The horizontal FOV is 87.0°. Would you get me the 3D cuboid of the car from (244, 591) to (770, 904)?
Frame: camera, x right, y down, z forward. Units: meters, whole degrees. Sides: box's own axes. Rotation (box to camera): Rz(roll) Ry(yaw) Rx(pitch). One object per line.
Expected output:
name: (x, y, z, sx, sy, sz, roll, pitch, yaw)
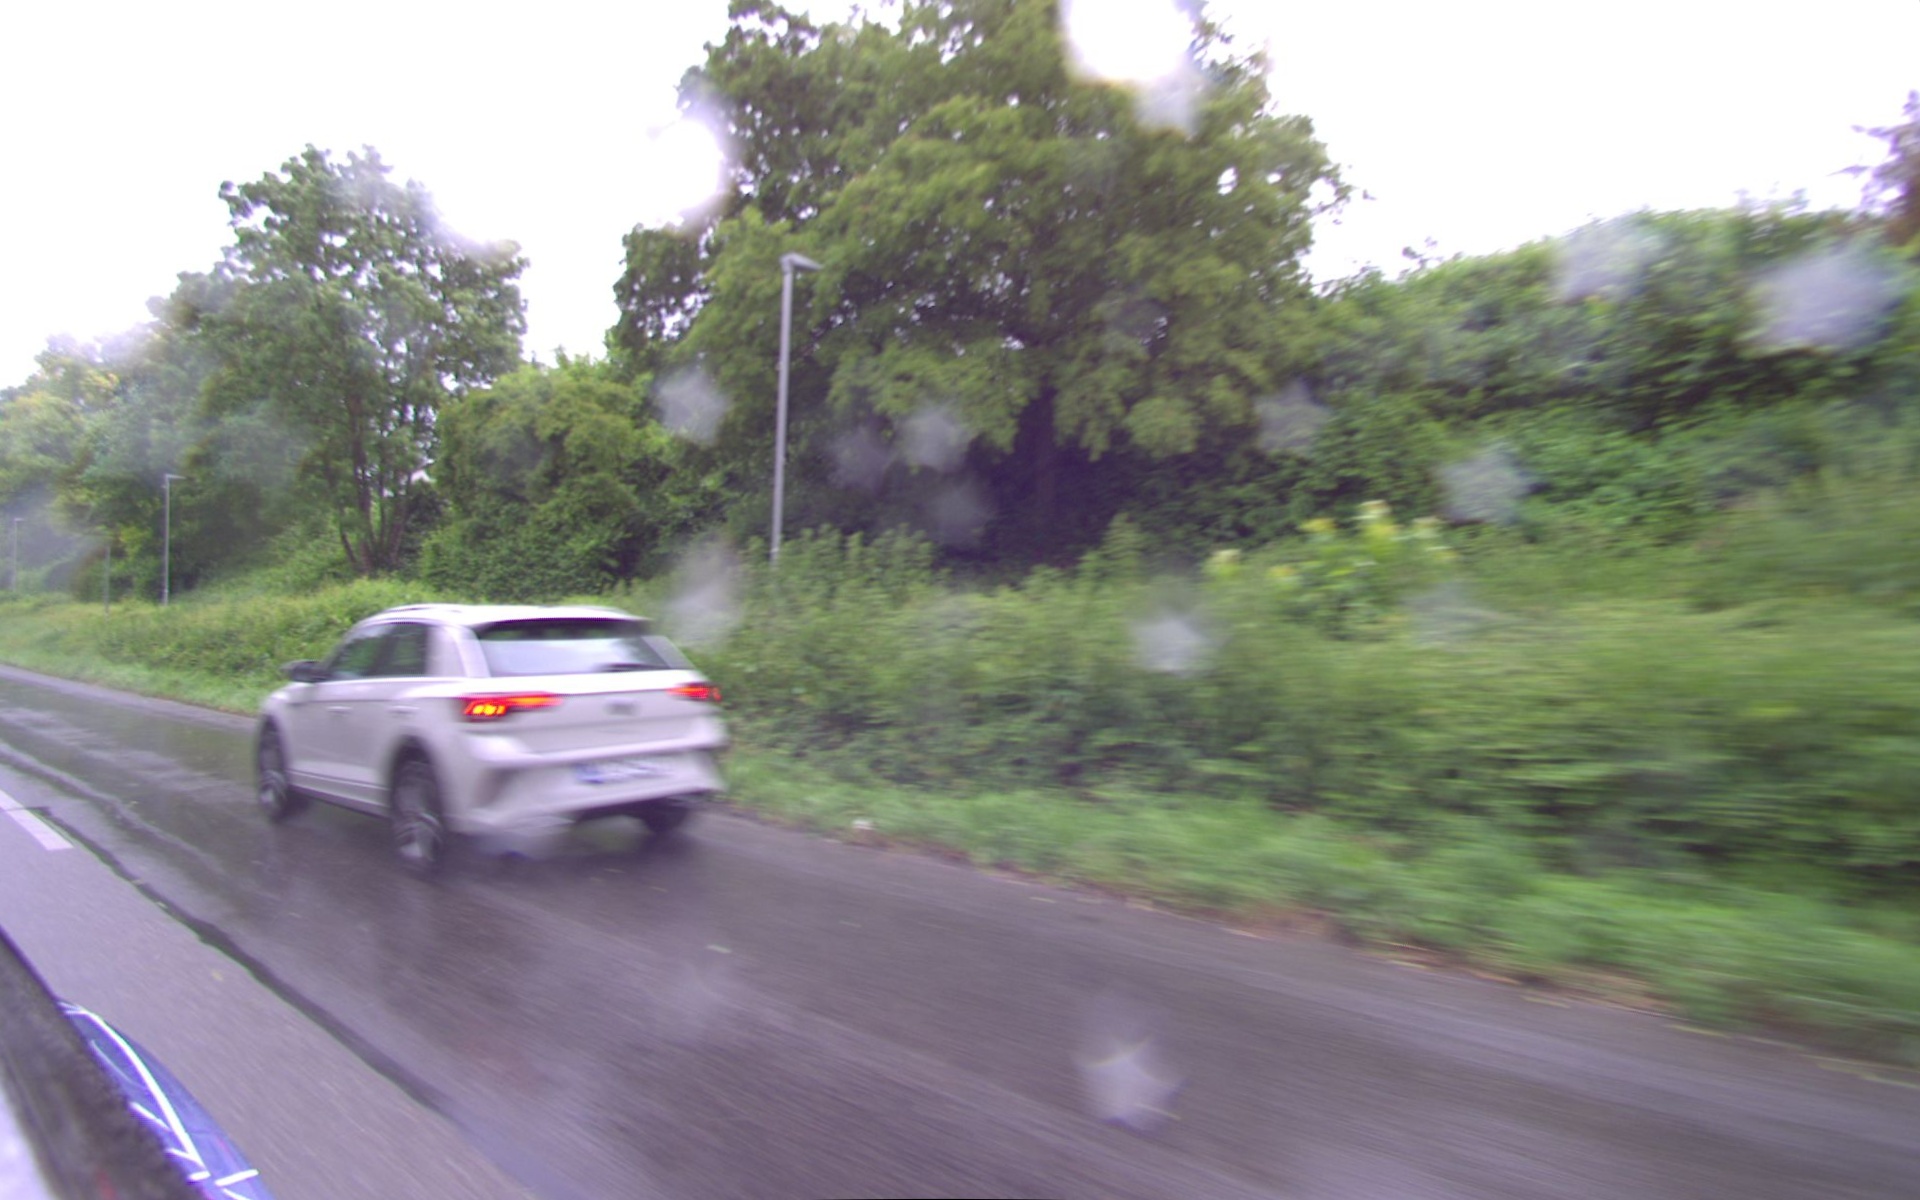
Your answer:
car: (-3.252, 0.798, 6.917, 3.998, 1.516, 1.763, -2, -3, 41)
